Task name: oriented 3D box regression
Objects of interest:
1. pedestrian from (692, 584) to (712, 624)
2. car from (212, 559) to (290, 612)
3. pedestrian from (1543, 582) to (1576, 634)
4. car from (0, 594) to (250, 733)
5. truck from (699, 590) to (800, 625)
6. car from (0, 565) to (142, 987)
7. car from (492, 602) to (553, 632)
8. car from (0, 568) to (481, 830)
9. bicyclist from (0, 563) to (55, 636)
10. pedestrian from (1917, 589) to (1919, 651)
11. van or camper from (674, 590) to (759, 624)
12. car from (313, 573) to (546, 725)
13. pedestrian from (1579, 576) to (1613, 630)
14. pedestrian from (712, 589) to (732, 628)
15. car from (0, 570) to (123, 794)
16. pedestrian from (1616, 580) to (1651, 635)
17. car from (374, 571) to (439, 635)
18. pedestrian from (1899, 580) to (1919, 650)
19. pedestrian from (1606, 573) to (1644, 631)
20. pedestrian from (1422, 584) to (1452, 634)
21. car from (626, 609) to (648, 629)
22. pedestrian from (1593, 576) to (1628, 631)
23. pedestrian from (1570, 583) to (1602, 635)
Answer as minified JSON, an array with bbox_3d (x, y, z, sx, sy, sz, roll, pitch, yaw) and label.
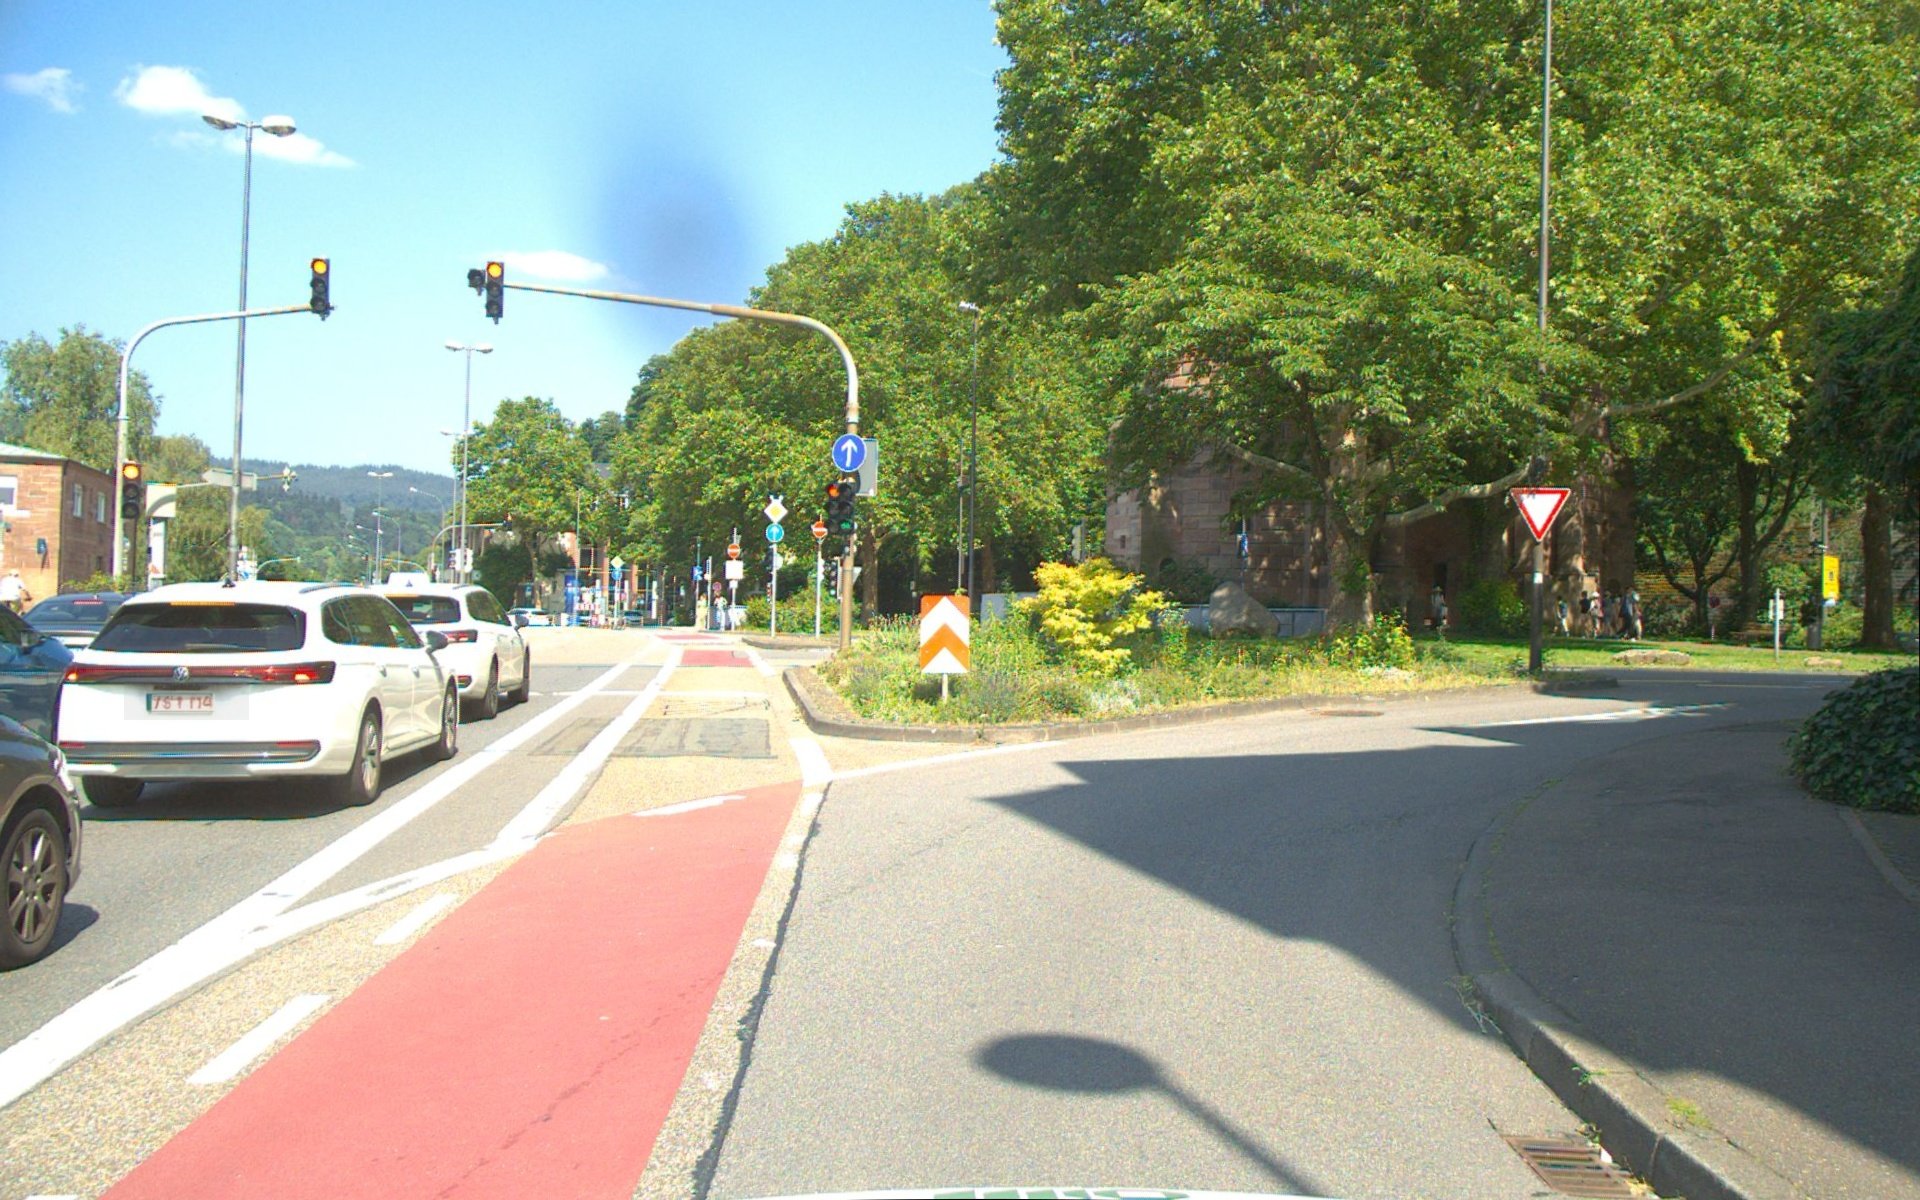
[{"bbox_3d":[-11.443,0.170,73.387,0.746,1.749,0.795,0,0,0],"label":"pedestrian"},{"bbox_3d":[-29.289,-0.616,68.495,2.177,2.115,5.025,0,1,-14],"label":"car"},{"bbox_3d":[20.838,0.279,57.481,0.779,1.786,0.663,2,0,-12],"label":"pedestrian"},{"bbox_3d":[-9.677,0.646,18.875,1.831,1.382,3.994,0,1,-7],"label":"car"},{"bbox_3d":[-12.866,0.431,100.957,6.138,2.049,2.159,0,0,32],"label":"truck"},{"bbox_3d":[-4.350,0.637,5.050,1.851,1.548,4.301,1,0,-5],"label":"car"},{"bbox_3d":[-30.752,1.162,116.352,3.911,2.049,1.940,0,0,29],"label":"car"},{"bbox_3d":[-5.032,0.556,12.367,1.955,1.560,4.852,0,1,-6],"label":"car"},{"bbox_3d":[-26.552,-0.013,47.022,1.192,2.049,1.114,0,0,-15],"label":"bicyclist"},{"bbox_3d":[25.791,0.480,43.482,0.779,1.786,0.663,2,0,-12],"label":"pedestrian"},{"bbox_3d":[-14.026,0.377,95.341,4.445,1.935,2.002,0,0,11],"label":"van or camper"},{"bbox_3d":[-6.075,0.494,19.476,1.751,1.559,4.729,0,0,-7],"label":"car"},{"bbox_3d":[21.467,0.110,55.826,0.779,1.786,0.663,2,0,-12],"label":"pedestrian"},{"bbox_3d":[-10.574,0.365,73.473,0.746,1.738,0.878,0,0,0],"label":"pedestrian"},{"bbox_3d":[-7.743,0.575,11.873,1.831,1.589,3.994,0,1,-7],"label":"car"},{"bbox_3d":[22.517,0.247,55.316,0.779,1.786,0.663,2,0,-12],"label":"pedestrian"},{"bbox_3d":[-23.868,0.108,71.172,2.350,2.621,6.016,0,0,-21],"label":"car"},{"bbox_3d":[24.534,0.381,42.222,0.756,1.786,0.753,0,0,-36],"label":"pedestrian"},{"bbox_3d":[20.828,0.055,51.831,0.779,1.786,0.720,2,0,-12],"label":"pedestrian"},{"bbox_3d":[17.659,0.331,61.223,0.778,1.813,0.873,0,0,-12],"label":"pedestrian"},{"bbox_3d":[-25.748,1.507,131.944,1.700,1.541,3.612,0,0,-11],"label":"car"},{"bbox_3d":[21.432,0.116,54.526,0.779,1.786,0.663,2,0,-12],"label":"pedestrian"},{"bbox_3d":[21.850,0.319,57.746,0.779,1.786,0.663,2,0,-12],"label":"pedestrian"}]
